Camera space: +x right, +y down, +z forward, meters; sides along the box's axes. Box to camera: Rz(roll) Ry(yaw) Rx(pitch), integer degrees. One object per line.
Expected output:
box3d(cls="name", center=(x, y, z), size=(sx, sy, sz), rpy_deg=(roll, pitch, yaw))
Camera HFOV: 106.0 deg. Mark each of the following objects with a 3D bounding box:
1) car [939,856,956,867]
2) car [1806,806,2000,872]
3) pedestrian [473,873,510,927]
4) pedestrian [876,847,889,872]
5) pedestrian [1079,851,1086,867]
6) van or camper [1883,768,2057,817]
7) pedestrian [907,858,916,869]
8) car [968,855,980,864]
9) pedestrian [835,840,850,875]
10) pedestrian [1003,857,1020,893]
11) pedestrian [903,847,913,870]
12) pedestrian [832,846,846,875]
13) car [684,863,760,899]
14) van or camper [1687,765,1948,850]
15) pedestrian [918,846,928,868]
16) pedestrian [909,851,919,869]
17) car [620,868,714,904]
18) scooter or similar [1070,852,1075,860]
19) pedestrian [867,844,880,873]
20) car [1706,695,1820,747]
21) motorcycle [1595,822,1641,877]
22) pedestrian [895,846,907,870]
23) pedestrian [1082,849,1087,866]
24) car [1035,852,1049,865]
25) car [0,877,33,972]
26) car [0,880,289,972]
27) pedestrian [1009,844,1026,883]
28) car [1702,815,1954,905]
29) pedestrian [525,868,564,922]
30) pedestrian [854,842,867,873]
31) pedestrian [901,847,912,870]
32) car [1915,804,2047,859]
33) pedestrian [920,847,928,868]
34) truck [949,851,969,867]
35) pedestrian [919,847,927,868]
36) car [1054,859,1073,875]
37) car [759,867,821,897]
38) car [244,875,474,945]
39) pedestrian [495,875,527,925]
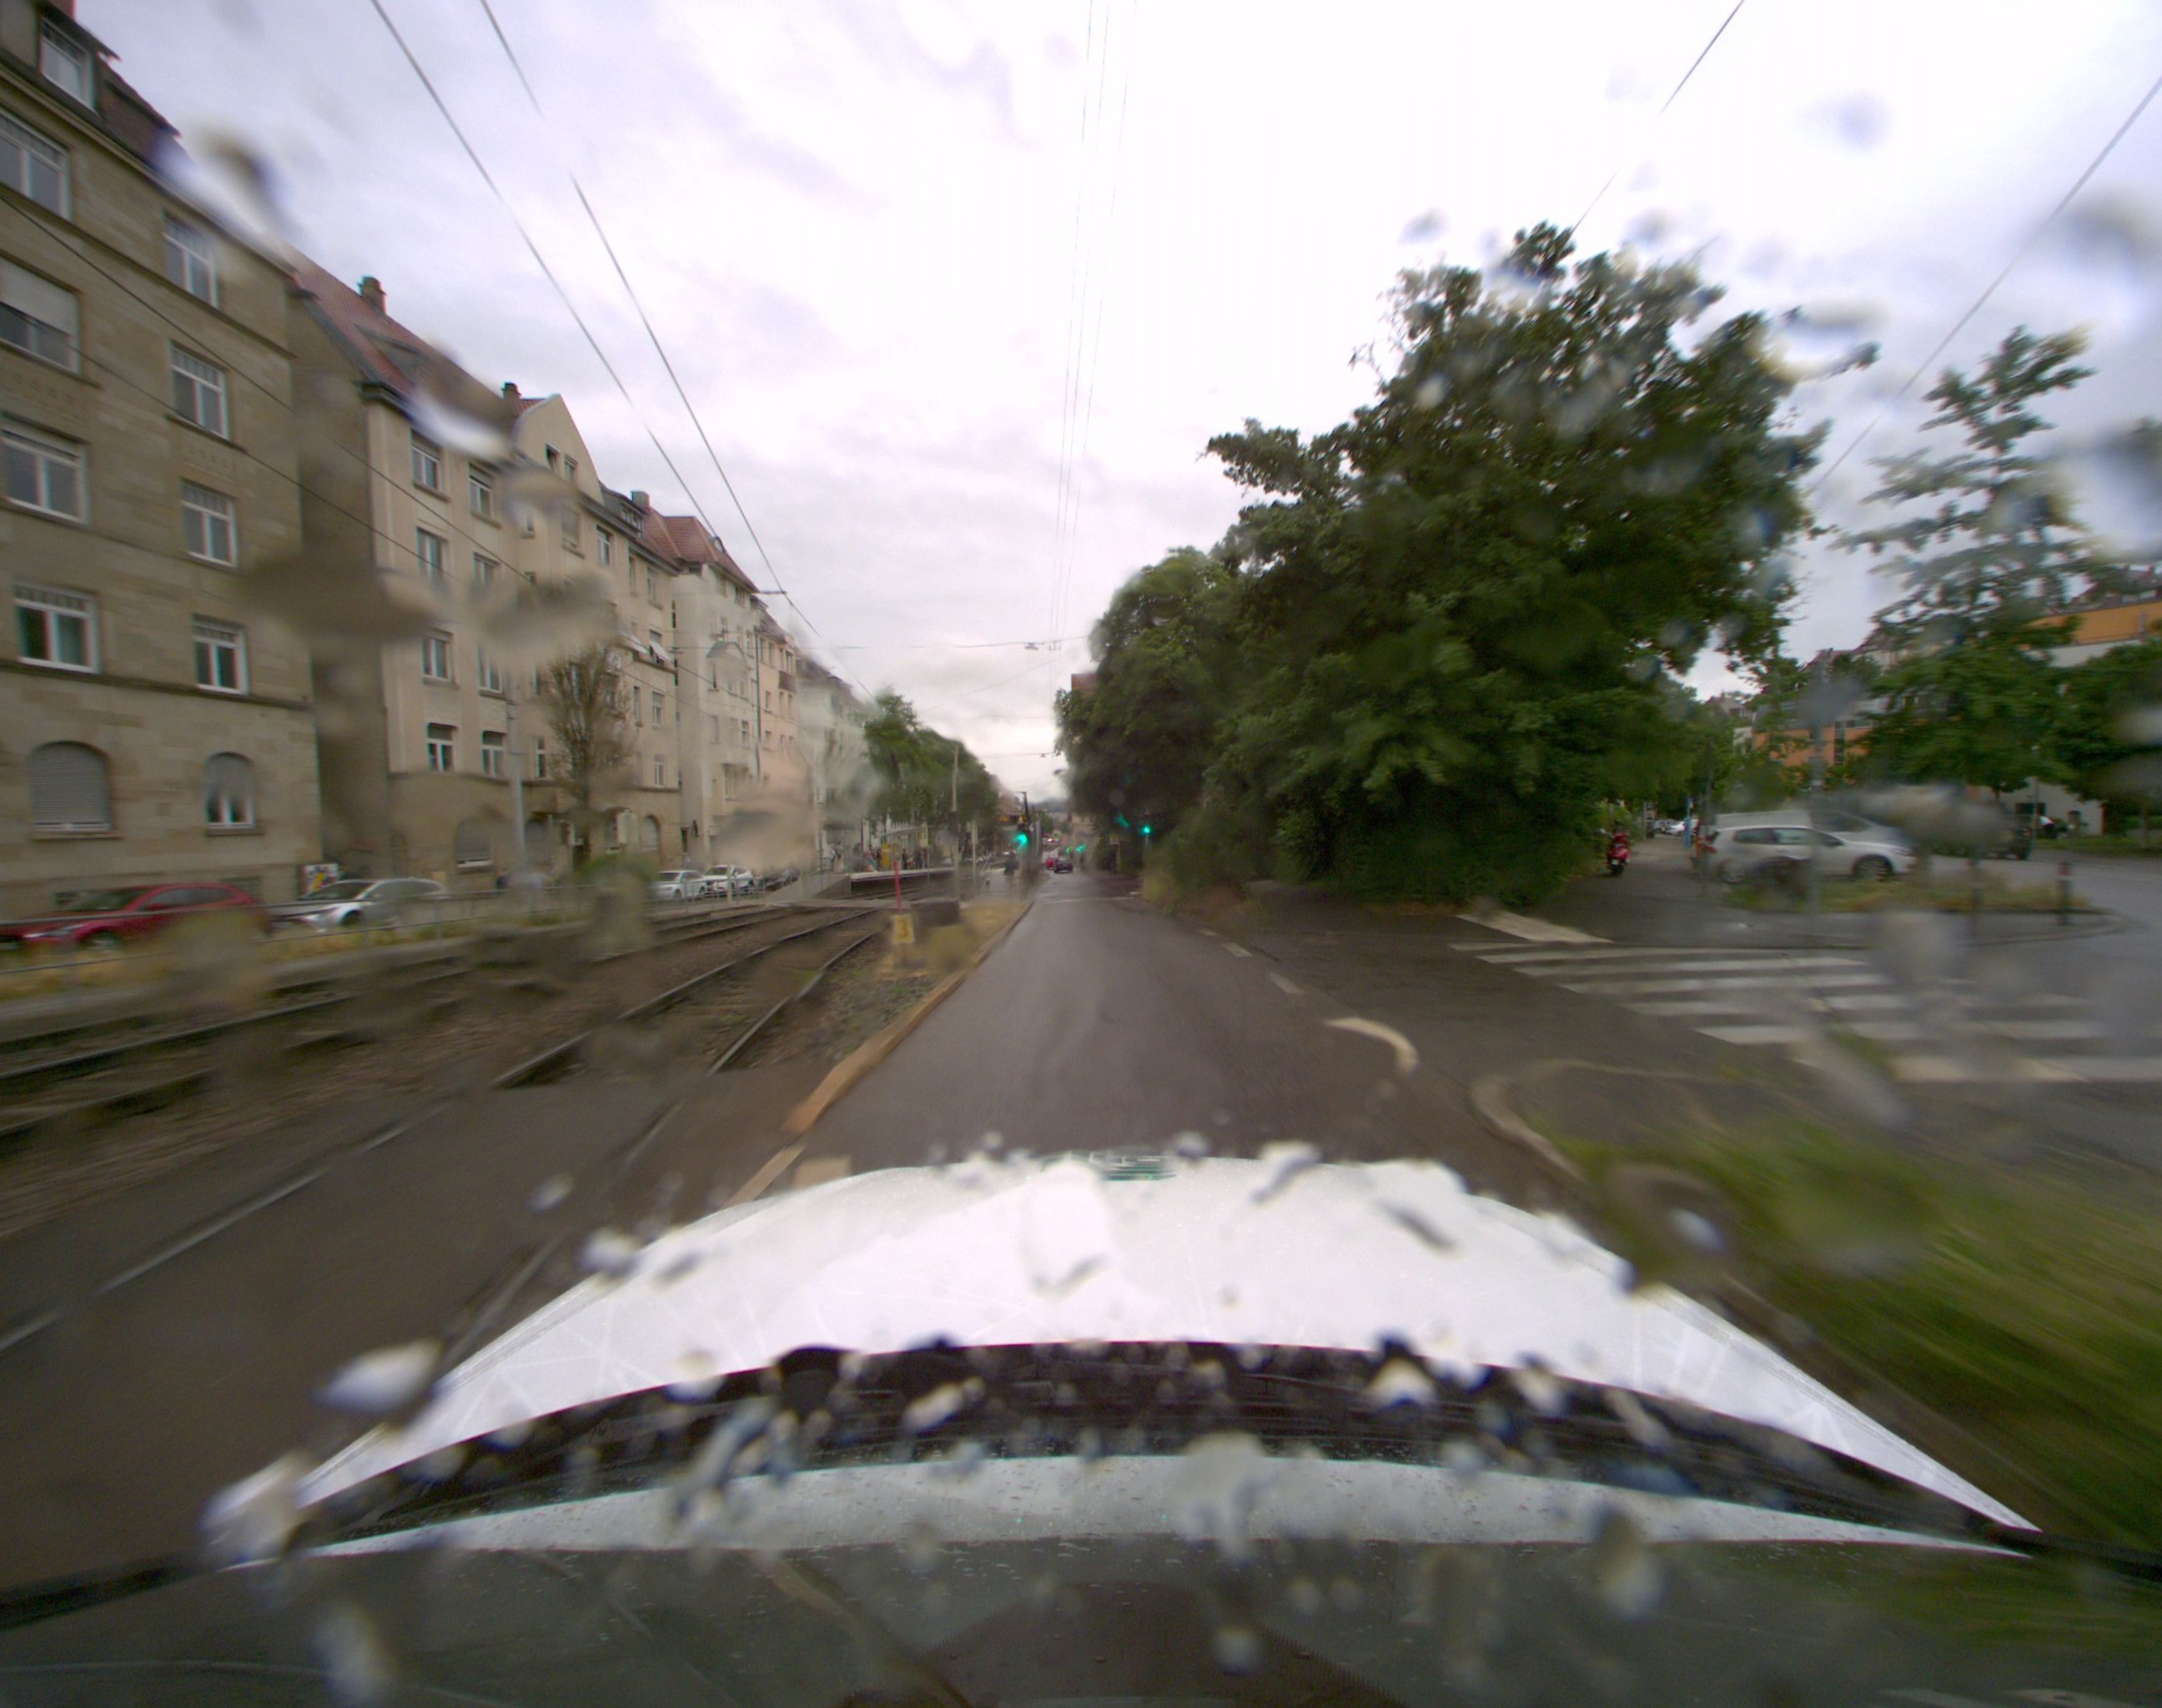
box3d(cls="car", center=(-19.898, 1.108, 121.766), size=(1.720, 1.515, 4.495), rpy_deg=(-2, 1, 0))
box3d(cls="car", center=(24.511, -0.416, 24.508), size=(3.854, 1.684, 1.749), rpy_deg=(-4, -1, 39))
box3d(cls="pedestrian", center=(-17.792, 1.382, 24.596), size=(0.623, 1.593, 0.620), rpy_deg=(-2, 0, 0))
box3d(cls="pedestrian", center=(-13.442, 0.376, 55.146), size=(0.592, 1.666, 0.761), rpy_deg=(-4, -1, -2))
box3d(cls="pedestrian", center=(0.207, 0.575, 90.438), size=(0.694, 1.695, 0.555), rpy_deg=(-2, 0, -4))
box3d(cls="van or camper", center=(45.878, -3.153, 42.200), size=(5.882, 2.013, 2.008), rpy_deg=(-3, 0, 15))
box3d(cls="pedestrian", center=(-13.136, 0.726, 63.213), size=(0.548, 0.872, 0.613), rpy_deg=(-4, -1, -2))
box3d(cls="car", center=(-20.051, 0.964, 153.087), size=(1.768, 1.546, 4.252), rpy_deg=(-4, 0, -2))
box3d(cls="pedestrian", center=(-12.949, 0.209, 44.213), size=(0.559, 1.850, 0.598), rpy_deg=(-4, -1, -2))
box3d(cls="pedestrian", center=(-3.061, 0.906, 35.793), size=(0.648, 1.562, 0.683), rpy_deg=(-2, 0, -1))
box3d(cls="pedestrian", center=(-13.175, 0.344, 62.059), size=(0.548, 1.666, 0.613), rpy_deg=(-4, -1, -2))
box3d(cls="pedestrian", center=(-13.313, 0.359, 44.774), size=(0.514, 1.605, 0.562), rpy_deg=(-4, -1, -2))
box3d(cls="car", center=(-18.870, 1.359, 43.014), size=(1.917, 1.622, 4.535), rpy_deg=(-3, 0, 0))
box3d(cls="van or camper", center=(20.176, -1.202, 22.621), size=(5.115, 1.834, 2.012), rpy_deg=(-4, -1, 43))
box3d(cls="pedestrian", center=(-12.702, 0.229, 65.386), size=(0.548, 1.741, 0.613), rpy_deg=(-4, -1, -2))
box3d(cls="pedestrian", center=(-13.140, 0.462, 64.114), size=(0.548, 1.413, 0.613), rpy_deg=(-4, -1, -2))
box3d(cls="car", center=(-18.883, 1.428, 37.383), size=(1.987, 1.533, 4.530), rpy_deg=(0, -1, -1))
box3d(cls="scooter or similar", center=(-1.697, 0.333, 160.725), size=(0.917, 1.604, 0.861), rpy_deg=(-2, 0, -6))
box3d(cls="pedestrian", center=(-13.400, 0.268, 52.612), size=(0.514, 1.838, 0.761), rpy_deg=(-4, -1, -2))
box3d(cls="car", center=(31.410, -6.086, 37.600), size=(3.949, 1.771, 1.859), rpy_deg=(-1, 1, 40))
box3d(cls="motorcycle", center=(14.259, -0.131, 21.600), size=(0.814, 1.375, 2.445), rpy_deg=(3, 2, 37))
box3d(cls="pedestrian", center=(-12.927, 0.301, 58.592), size=(0.592, 1.666, 0.761), rpy_deg=(-4, -1, -2))
box3d(cls="pedestrian", center=(0.397, 0.382, 91.073), size=(0.553, 1.813, 0.650), rpy_deg=(-2, 0, -4))
box3d(cls="car", center=(-5.362, 0.630, 112.164), size=(1.944, 1.793, 4.139), rpy_deg=(-2, 0, -3))
box3d(cls="car", center=(-18.511, 1.185, 11.646), size=(1.626, 1.547, 4.173), rpy_deg=(-2, 0, -1))
box3d(cls="car", center=(-18.618, 1.325, 16.211), size=(1.626, 1.442, 4.173), rpy_deg=(-2, 0, -1))
box3d(cls="pedestrian", center=(-2.927, 0.430, 37.399), size=(0.648, 1.784, 0.847), rpy_deg=(-2, 0, -1))
box3d(cls="car", center=(18.456, 0.171, 20.490), size=(4.451, 2.014, 2.013), rpy_deg=(-1, 0, 37))
box3d(cls="pedestrian", center=(-17.480, 1.325, 26.554), size=(0.718, 1.700, 0.728), rpy_deg=(-2, 0, 0))
box3d(cls="pedestrian", center=(-13.282, 0.234, 49.077), size=(0.514, 1.838, 0.761), rpy_deg=(-4, -1, -2))
box3d(cls="pedestrian", center=(-13.044, 0.327, 60.936), size=(0.592, 1.666, 0.591), rpy_deg=(-4, -1, -2))
box3d(cls="car", center=(36.828, -0.909, 33.487), size=(1.976, 2.013, 4.021), rpy_deg=(-3, 0, 21))
box3d(cls="pedestrian", center=(-13.275, 0.279, 68.840), size=(0.481, 1.741, 0.563), rpy_deg=(-4, -1, -2))
box3d(cls="truck", center=(-19.770, 0.753, 131.931), size=(2.043, 2.393, 6.323), rpy_deg=(-2, 0, 2))
box3d(cls="pedestrian", center=(-13.470, 0.310, 69.422), size=(0.481, 1.741, 0.563), rpy_deg=(-4, -1, -2))
box3d(cls="car", center=(-1.801, 1.261, 82.672), size=(1.847, 1.473, 3.996), rpy_deg=(-2, 1, -3))
box3d(cls="car", center=(-18.469, 1.727, 51.935), size=(1.986, 1.732, 4.814), rpy_deg=(-3, -1, 1))
box3d(cls="car", center=(-18.419, 1.352, 21.167), size=(1.713, 1.442, 4.864), rpy_deg=(-2, 0, -2))
box3d(cls="pedestrian", center=(-17.808, 1.426, 25.434), size=(0.518, 1.532, 0.620), rpy_deg=(-2, 0, 0))
